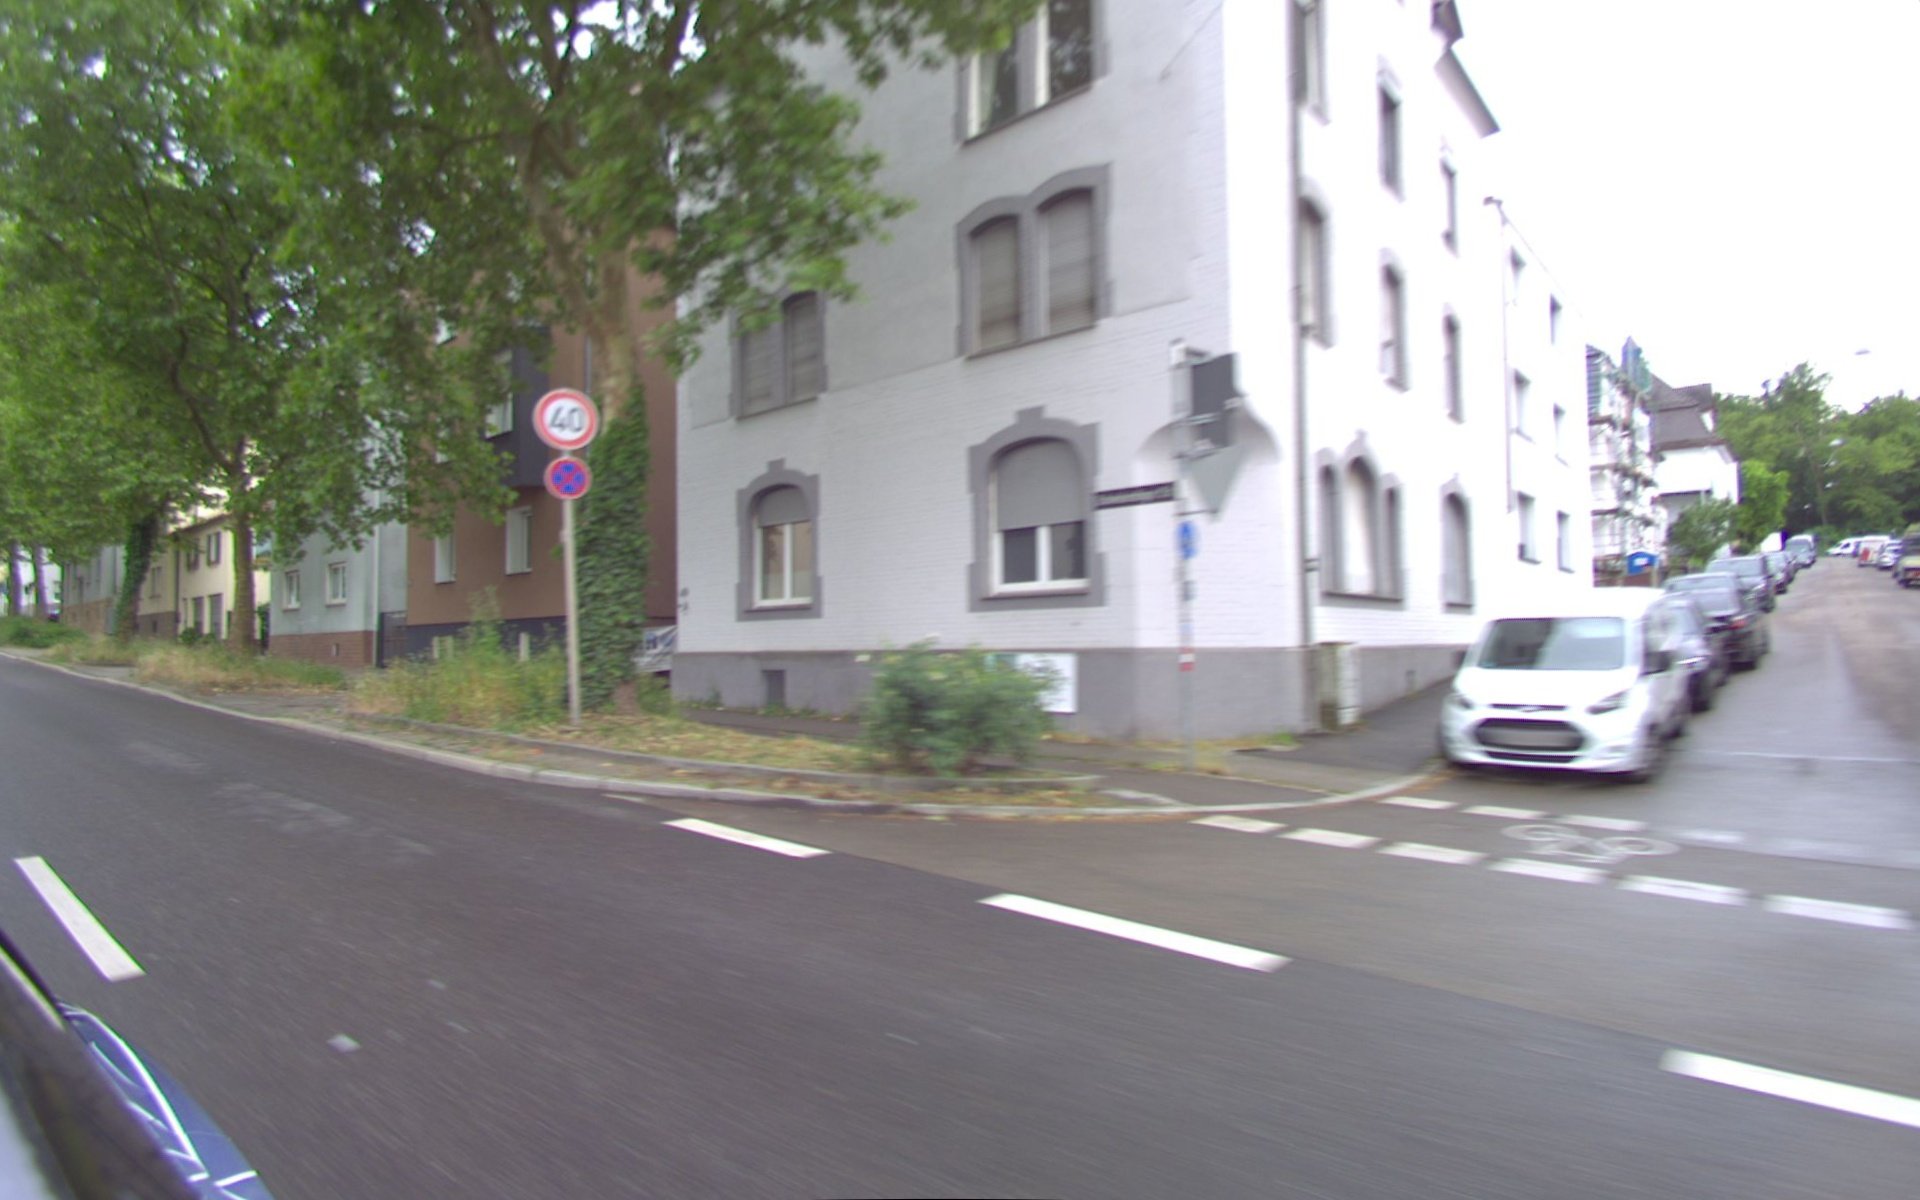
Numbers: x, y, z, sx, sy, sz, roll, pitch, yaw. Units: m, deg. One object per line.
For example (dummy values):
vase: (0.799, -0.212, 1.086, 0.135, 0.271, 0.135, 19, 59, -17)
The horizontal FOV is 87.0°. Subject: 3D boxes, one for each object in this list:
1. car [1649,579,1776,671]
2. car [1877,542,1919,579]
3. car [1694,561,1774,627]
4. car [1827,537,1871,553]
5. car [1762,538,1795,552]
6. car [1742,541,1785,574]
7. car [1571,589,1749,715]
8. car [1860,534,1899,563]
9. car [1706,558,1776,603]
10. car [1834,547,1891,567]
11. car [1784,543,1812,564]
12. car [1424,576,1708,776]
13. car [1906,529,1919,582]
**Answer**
car: (13.913, 0.393, 18.645, 1.634, 1.394, 3.534, 0, 3, 40)
car: (57.784, -2.448, 61.703, 2.380, 2.028, 4.233, 0, 4, 38)
car: (18.532, -0.157, 24.189, 1.338, 1.463, 3.219, 0, 0, 40)
car: (107.632, -6.646, 122.506, 3.626, 1.677, 1.594, -2, 2, 13)
car: (100.353, -6.729, 124.098, 2.854, 1.677, 1.413, -2, 2, 13)
car: (44.090, -2.338, 55.511, 1.728, 1.677, 3.534, 0, 3, 40)
car: (10.735, 0.688, 15.393, 1.792, 1.498, 3.946, -1, 2, 41)
car: (71.271, -3.954, 78.516, 1.859, 2.029, 4.232, 0, 0, 37)
car: (26.312, -0.664, 34.068, 1.728, 1.363, 3.184, 0, 3, 40)
car: (98.448, -4.672, 110.452, 2.346, 1.934, 4.293, -2, 0, -40)
car: (80.058, -4.442, 96.639, 1.999, 1.793, 3.946, 0, 0, 41)
car: (7.035, 0.672, 11.489, 2.019, 1.791, 4.623, -1, 0, 40)
car: (40.800, -1.918, 42.042, 2.107, 2.028, 4.228, 0, 4, 42)
